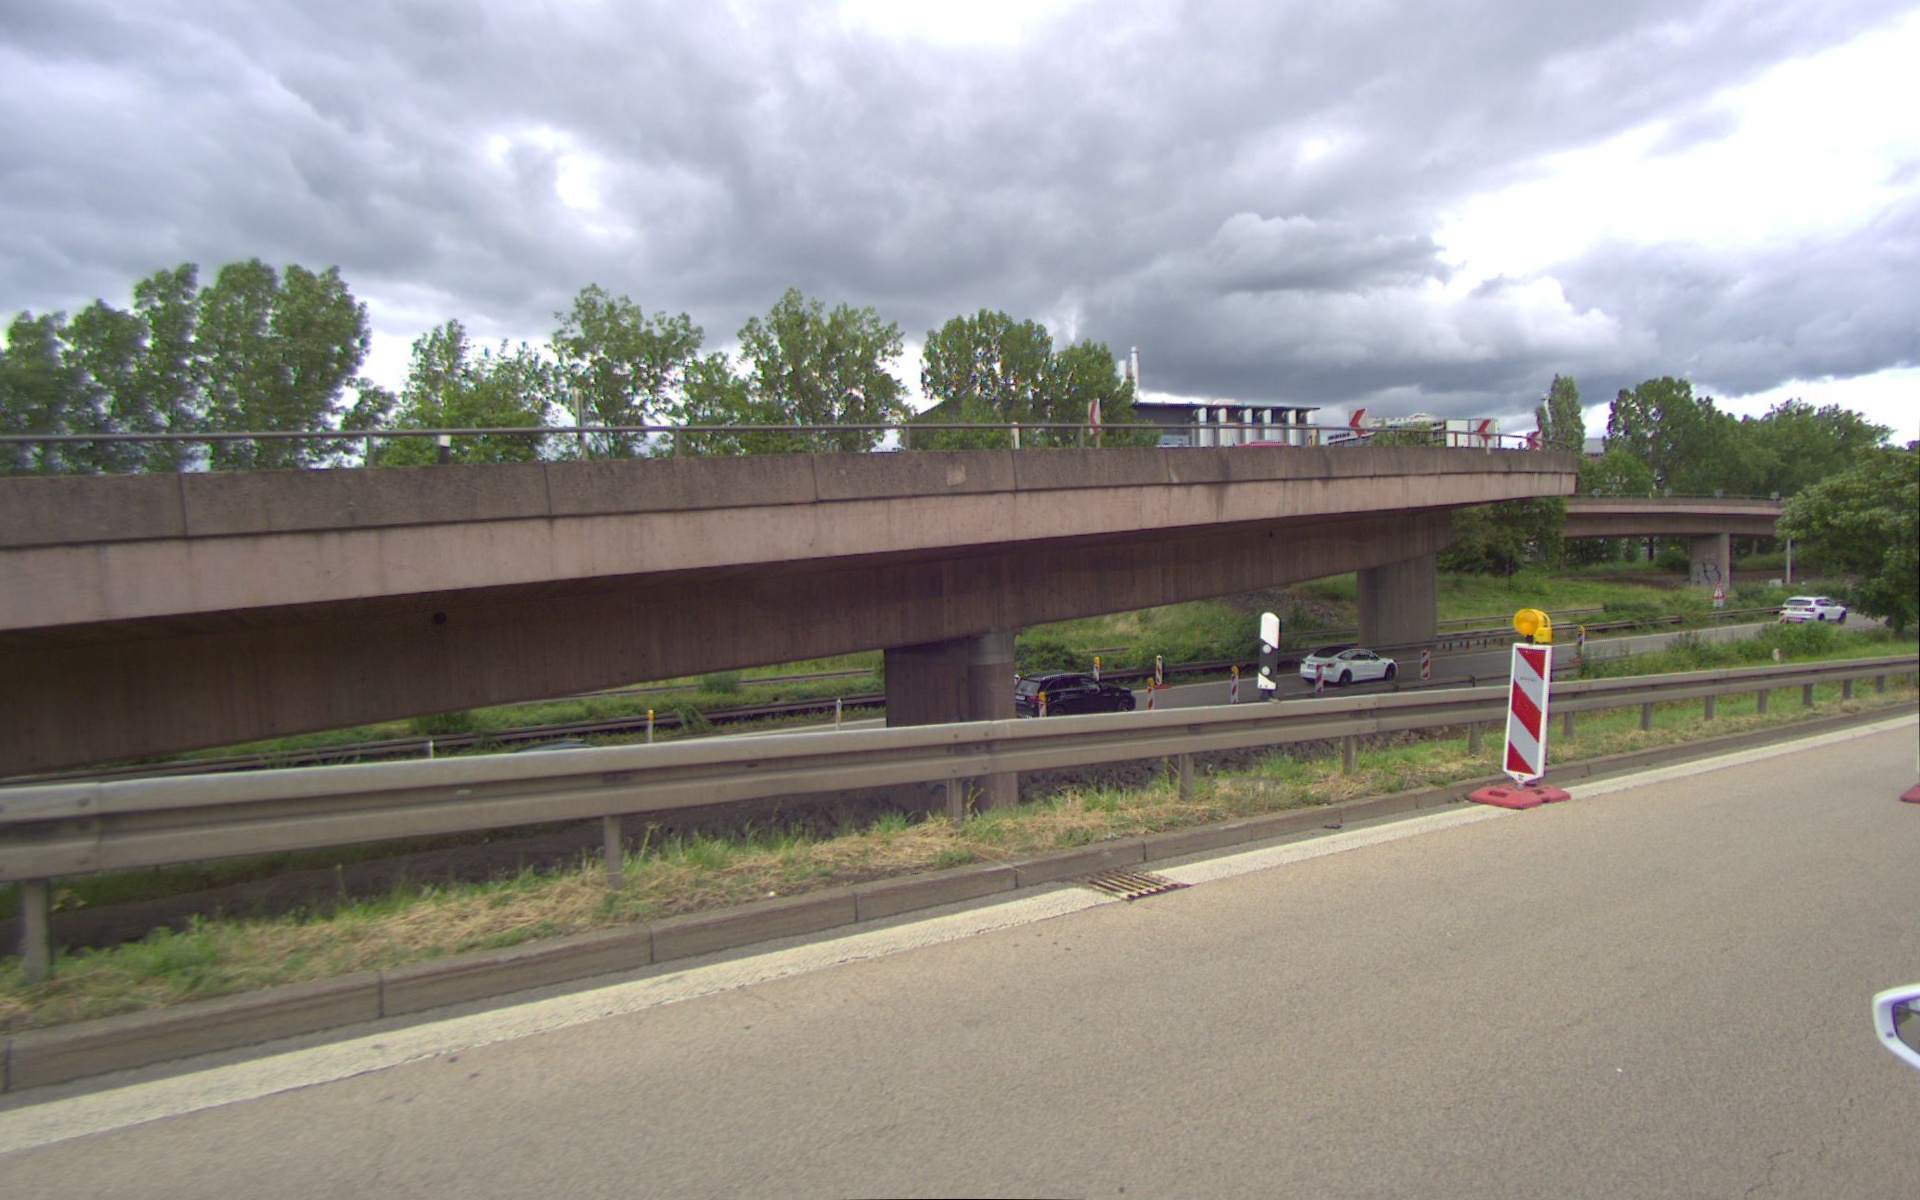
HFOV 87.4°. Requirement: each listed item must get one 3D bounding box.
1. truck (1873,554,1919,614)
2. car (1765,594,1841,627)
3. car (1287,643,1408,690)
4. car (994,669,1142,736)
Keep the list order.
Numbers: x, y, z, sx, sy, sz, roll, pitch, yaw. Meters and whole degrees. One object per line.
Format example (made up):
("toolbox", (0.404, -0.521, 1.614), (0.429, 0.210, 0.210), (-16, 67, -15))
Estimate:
("truck", (62.645, -1.113, 65.135), (7.307, 3.706, 3.036), (-2, 3, -30))
("car", (49.815, 0.572, 59.356), (4.047, 1.736, 1.986), (-2, 3, -27))
("car", (15.785, 2.667, 40.891), (4.738, 1.475, 1.986), (-2, 3, -27))
("car", (3.585, 3.346, 33.346), (4.517, 1.637, 2.030), (-2, 3, -27))
